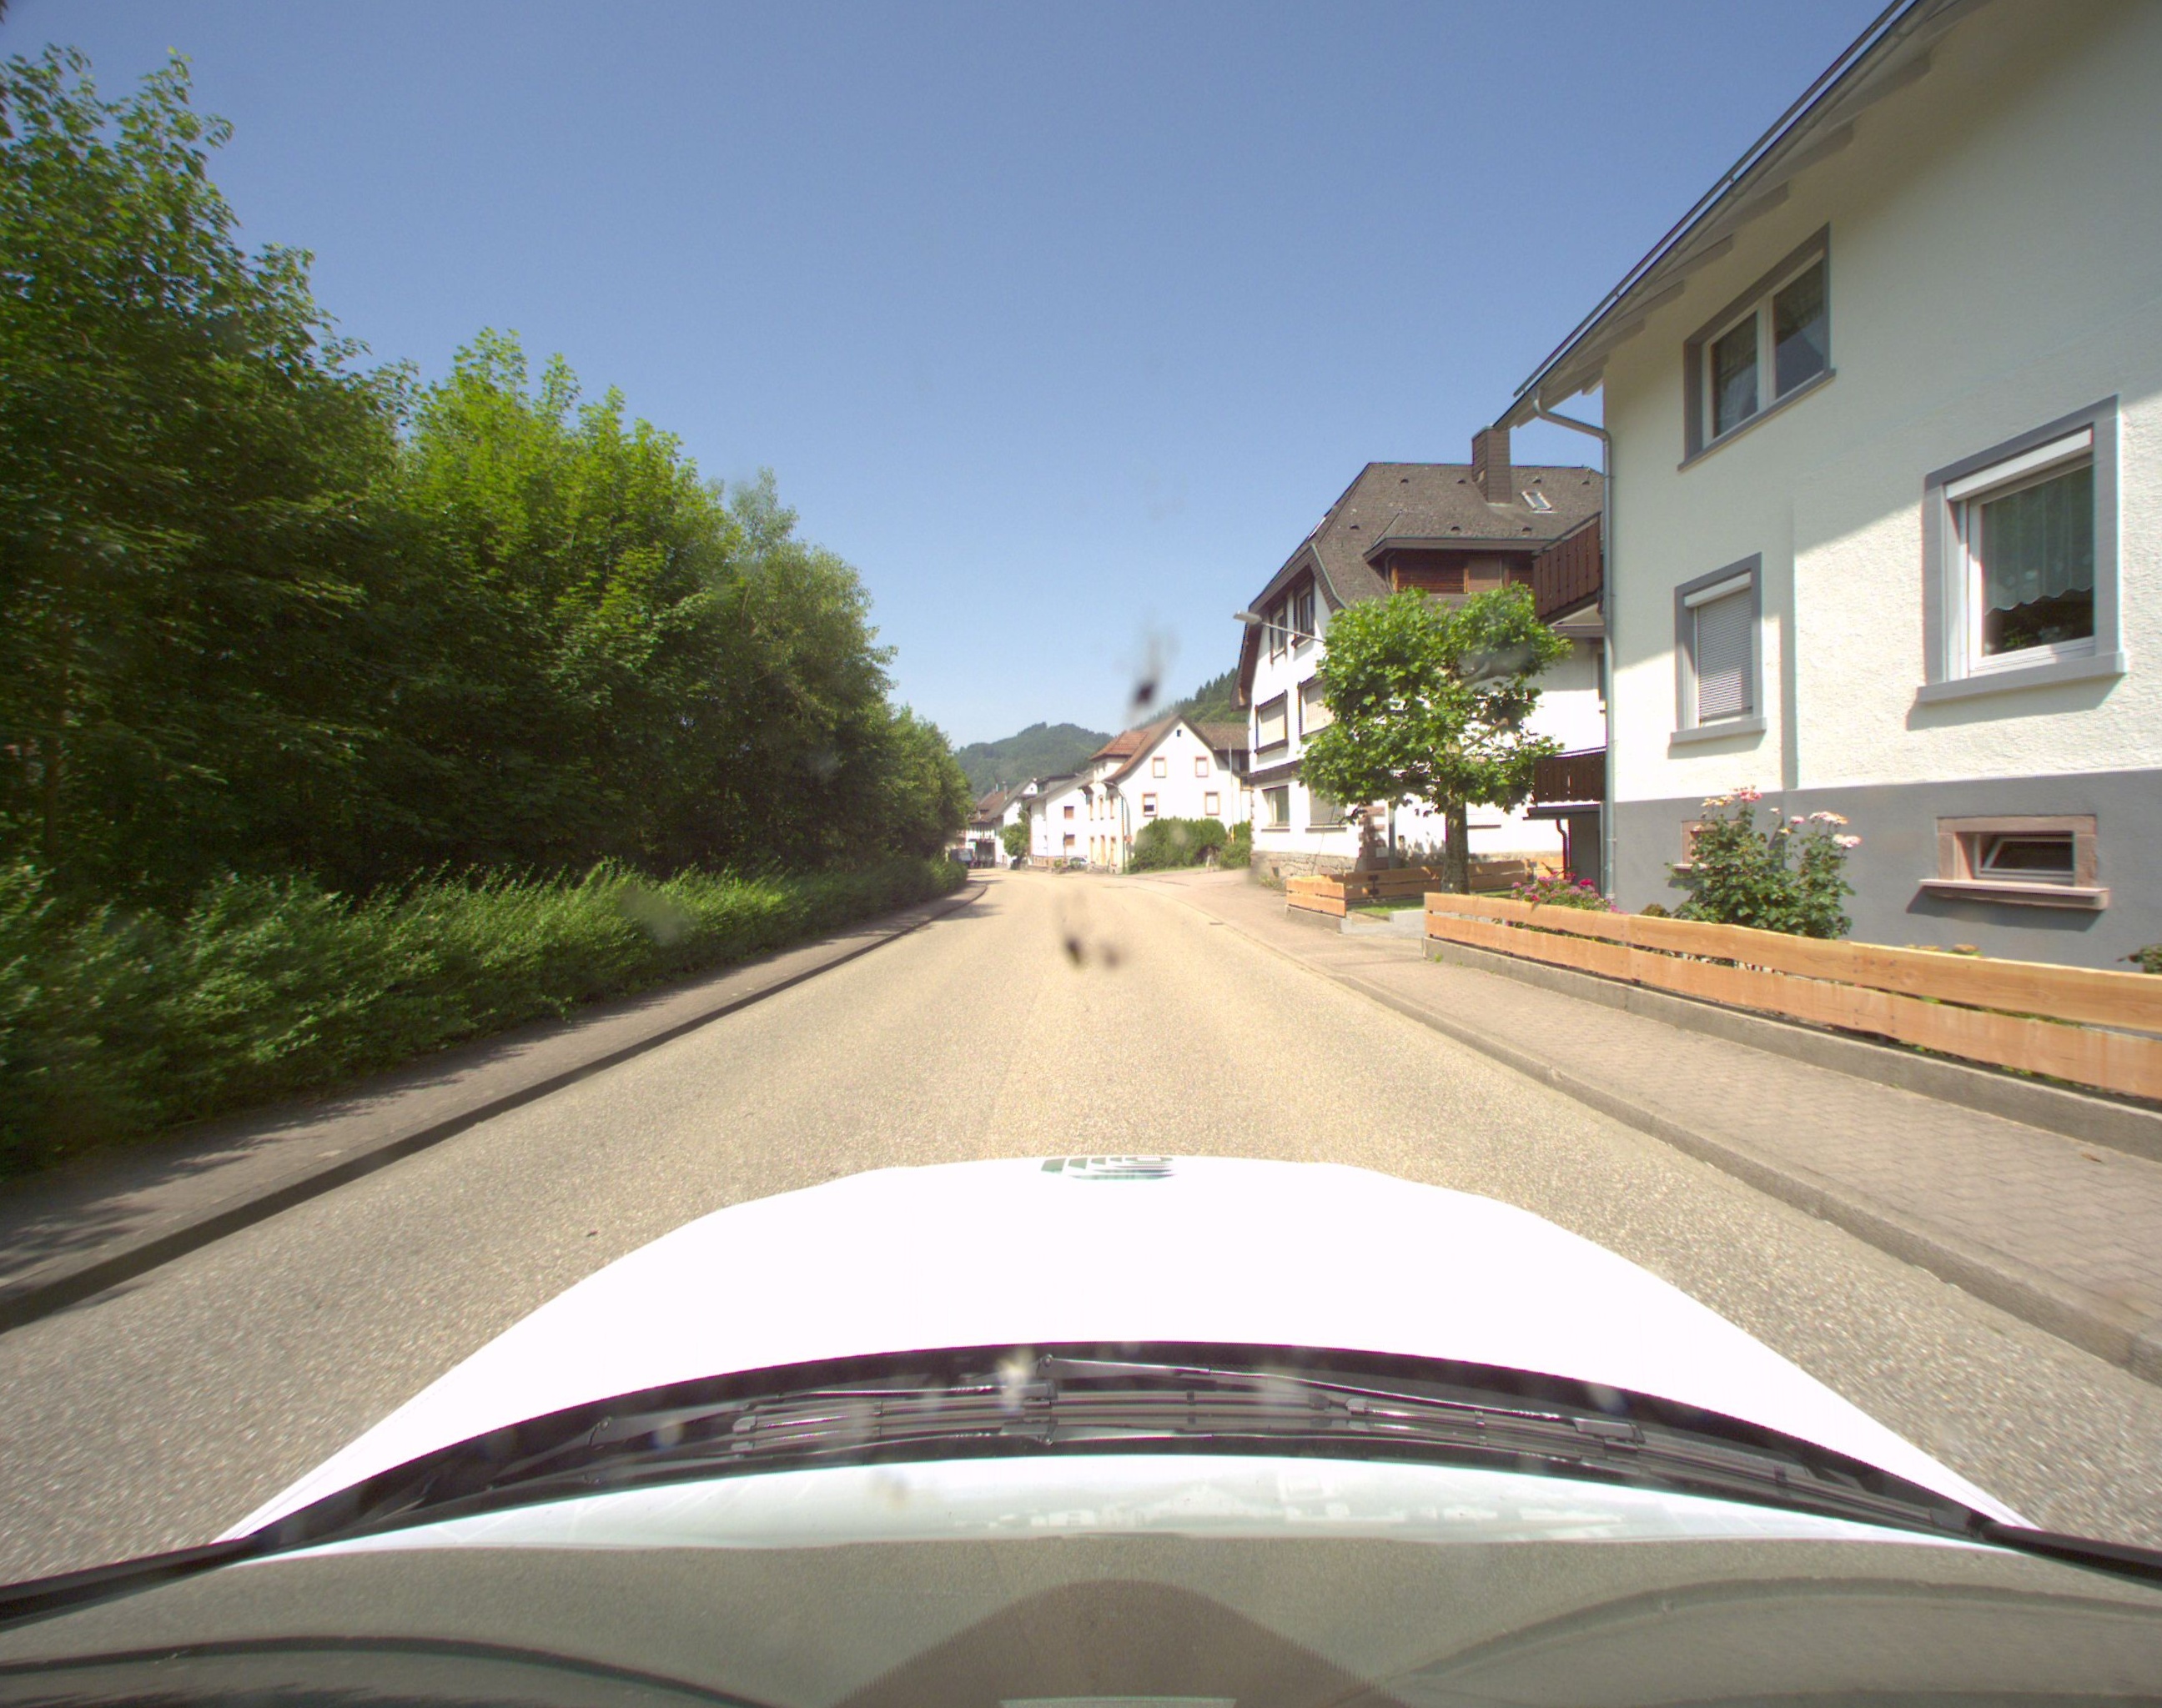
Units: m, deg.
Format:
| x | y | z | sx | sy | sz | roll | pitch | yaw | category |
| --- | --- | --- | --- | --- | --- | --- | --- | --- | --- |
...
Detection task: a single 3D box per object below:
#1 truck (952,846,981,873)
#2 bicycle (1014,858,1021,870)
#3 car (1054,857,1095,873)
| x | y | z | sx | sy | sz | roll | pitch | yaw | category |
| --- | --- | --- | --- | --- | --- | --- | --- | --- | --- |
| -19.197 | 0.953 | 135.703 | 3.371 | 3.782 | 8.393 | -5 | -1 | -16 | truck |
| -8.167 | 1.278 | 104.744 | 0.426 | 1.396 | 2.267 | -5 | 1 | -12 | bicycle |
| -0.629 | 1.077 | 80.378 | 3.727 | 1.427 | 1.620 | -3 | 0 | 33 | car |
